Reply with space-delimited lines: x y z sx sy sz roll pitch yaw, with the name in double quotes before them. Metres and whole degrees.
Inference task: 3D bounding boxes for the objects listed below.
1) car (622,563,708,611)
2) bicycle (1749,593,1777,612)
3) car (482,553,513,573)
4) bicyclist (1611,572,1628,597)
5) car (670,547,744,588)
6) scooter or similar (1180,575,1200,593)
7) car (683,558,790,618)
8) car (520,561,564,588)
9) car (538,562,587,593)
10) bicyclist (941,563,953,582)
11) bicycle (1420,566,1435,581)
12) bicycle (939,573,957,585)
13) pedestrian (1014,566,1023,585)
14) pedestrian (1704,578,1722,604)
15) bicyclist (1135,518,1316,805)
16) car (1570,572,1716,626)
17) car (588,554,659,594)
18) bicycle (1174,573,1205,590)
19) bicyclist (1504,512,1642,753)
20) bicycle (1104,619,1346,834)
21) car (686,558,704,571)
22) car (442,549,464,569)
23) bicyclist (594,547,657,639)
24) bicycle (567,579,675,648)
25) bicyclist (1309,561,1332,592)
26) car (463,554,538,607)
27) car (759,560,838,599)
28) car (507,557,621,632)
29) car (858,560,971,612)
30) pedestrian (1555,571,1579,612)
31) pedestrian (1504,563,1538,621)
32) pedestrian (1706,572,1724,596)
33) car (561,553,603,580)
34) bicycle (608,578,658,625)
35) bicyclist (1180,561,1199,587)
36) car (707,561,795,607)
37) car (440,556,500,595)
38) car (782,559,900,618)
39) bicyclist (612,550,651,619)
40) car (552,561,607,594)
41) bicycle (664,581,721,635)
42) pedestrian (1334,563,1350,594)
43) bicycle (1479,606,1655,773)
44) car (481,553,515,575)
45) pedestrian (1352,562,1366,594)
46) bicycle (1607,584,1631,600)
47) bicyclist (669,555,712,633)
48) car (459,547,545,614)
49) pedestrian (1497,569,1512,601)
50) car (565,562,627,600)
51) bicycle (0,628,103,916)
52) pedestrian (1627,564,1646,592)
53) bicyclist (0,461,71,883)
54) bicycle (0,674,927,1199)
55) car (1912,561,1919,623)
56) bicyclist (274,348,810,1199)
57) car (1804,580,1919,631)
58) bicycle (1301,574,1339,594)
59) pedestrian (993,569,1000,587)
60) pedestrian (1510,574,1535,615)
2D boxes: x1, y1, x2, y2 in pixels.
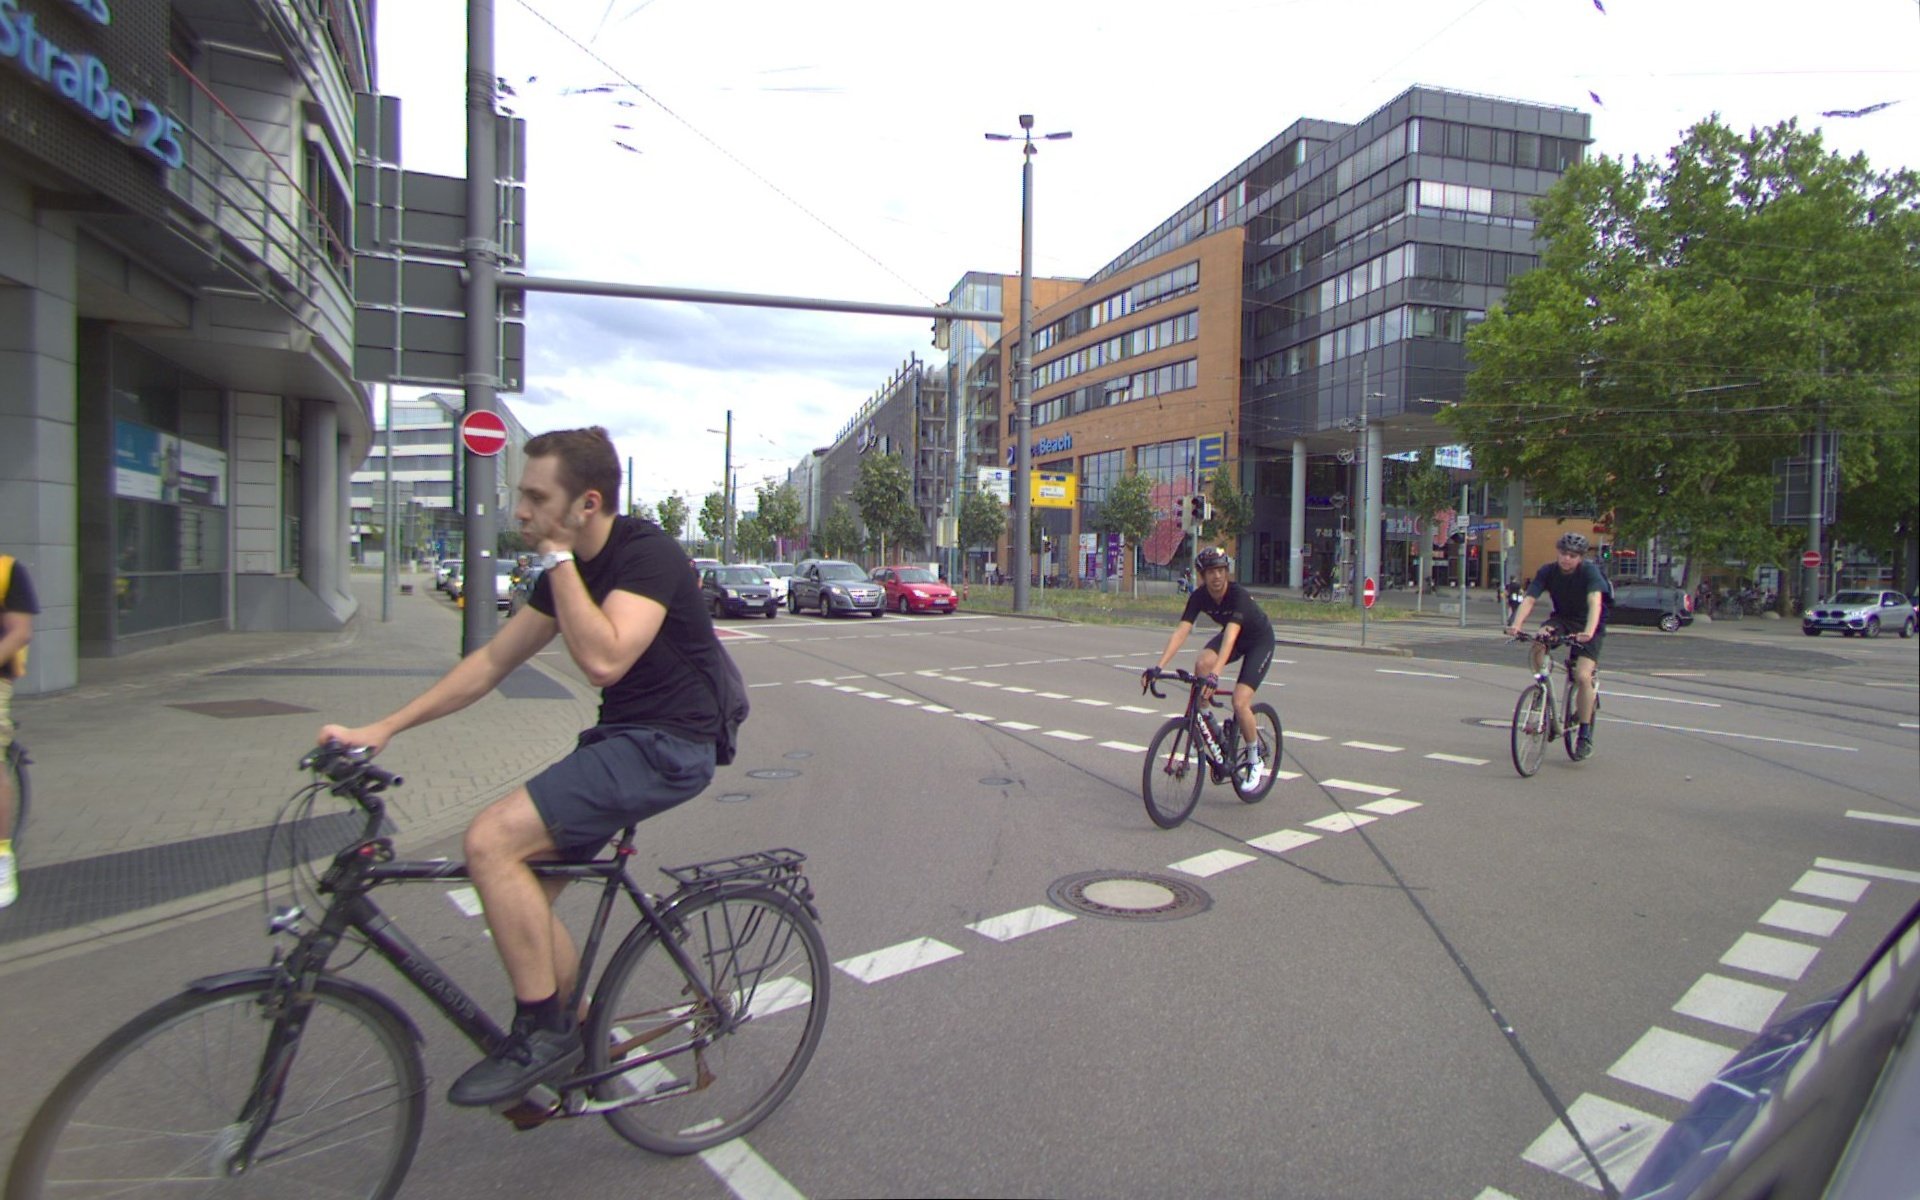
"car" -9.897 -0.485 33.758 1.787 1.478 4.004 -2 3 -31
"bicycle" 42.272 0.124 53.287 1.688 0.928 0.536 -1 2 -29
"car" -37.569 -3.041 82.119 1.787 1.551 4.004 -2 3 -31
"bicyclist" 38.762 -0.930 59.513 0.723 1.450 0.532 0 2 -29
"car" -10.316 -1.354 41.113 1.787 1.551 4.004 -2 3 -31
"scooter or similar" 15.132 -1.070 66.598 0.476 1.181 1.477 0 2 -27
"car" -6.395 -0.405 28.684 1.787 1.551 4.004 -1 3 -31
"car" -24.889 -1.551 60.164 1.787 1.551 4.004 -2 3 -31
"car" -21.229 -1.257 53.974 1.787 1.551 4.004 -2 3 -31
"bicyclist" -1.133 -2.409 88.911 0.625 1.636 0.979 0 2 -32
"bicycle" 30.119 -1.721 65.186 0.528 0.928 1.558 1 2 13
"bicycle" -1.092 -1.871 88.851 0.625 1.023 2.007 0 2 -32
"pedestrian" 4.905 -2.037 84.675 0.603 1.619 0.448 0 2 -15
"pedestrian" 44.556 -0.542 59.913 0.668 1.529 0.589 -1 2 -28
"bicyclist" 1.694 0.345 6.437 1.016 1.674 0.591 0 2 -40
"car" 24.151 -0.081 36.004 4.146 1.760 1.944 2 2 31
"car" -13.362 -1.077 40.062 1.787 1.478 4.004 -2 3 -31
"bicycle" 14.442 -1.198 63.706 0.625 1.023 2.007 0 2 -32
"bicyclist" 4.900 0.228 8.080 1.016 1.792 0.591 0 2 -40
"bicycle" 1.734 0.729 6.485 1.703 1.153 0.595 0 2 -40
"car" -36.149 -4.833 138.060 1.729 1.639 4.006 0 2 -6
"car" -54.149 -4.342 108.122 1.787 2.044 4.004 0 2 -31
"bicyclist" -6.422 -0.153 19.466 0.652 1.695 1.030 0 3 18
"bicycle" -6.438 0.219 19.400 0.652 1.152 2.428 0 3 17
"bicyclist" 19.814 -1.297 55.669 0.625 1.636 0.979 0 2 -32
"car" -15.180 -0.689 33.315 1.787 1.640 4.172 -1 3 -31
"car" -6.569 -0.867 40.941 1.787 1.450 4.004 -2 3 -31
"car" -9.204 -0.198 23.361 1.787 1.551 4.004 -2 3 -31
"car" -1.478 -0.491 31.317 1.787 1.450 4.004 -2 3 -31
"pedestrian" 26.533 -0.389 44.267 0.729 1.753 0.588 0 1 -31
"pedestrian" 17.899 -0.266 32.291 0.657 1.813 0.678 0 2 -37
"pedestrian" 48.834 -1.013 65.456 0.668 1.529 0.589 0 2 -15
"car" -25.121 -2.243 67.222 1.787 1.687 4.415 -2 3 -31
"bicycle" -8.228 0.015 25.398 0.735 1.069 2.225 -2 3 -29
"bicyclist" 14.453 -1.631 63.707 0.625 1.636 0.979 -1 2 -32
"car" -7.386 -0.624 35.541 1.787 1.478 4.004 -2 3 -31
"car" -19.682 -1.028 40.589 1.787 1.478 4.004 -2 3 -31
"car" -3.500 -0.403 29.172 1.787 1.551 4.224 -2 3 -31
"bicyclist" -8.257 -0.408 25.412 0.730 1.686 0.982 -2 3 -29
"car" -18.304 -1.128 48.567 1.754 1.478 4.004 -2 3 -31
"bicycle" -5.970 0.155 22.479 0.670 1.069 2.209 -2 3 -29
"pedestrian" 23.377 -1.323 61.942 0.613 1.889 0.675 1 1 -16
"bicycle" 4.872 0.648 8.072 1.825 1.153 0.595 0 2 -40
"car" -33.578 -2.631 73.447 1.787 1.551 4.004 -2 3 -31
"pedestrian" 24.031 -1.335 60.961 0.535 1.889 0.515 1 1 -6
"bicycle" 38.766 -0.481 59.525 1.510 0.928 0.536 -1 2 -29
"bicyclist" -6.001 -0.157 22.528 0.662 1.686 0.982 -2 3 -29
"car" -13.186 -0.610 29.001 1.787 1.783 4.004 -1 3 -31
"pedestrian" 31.830 -0.883 59.176 0.504 1.889 0.547 1 1 -12
"car" -15.929 -0.866 44.184 1.787 1.551 4.004 -2 3 -31
"bicycle" -4.419 0.756 4.222 0.711 1.153 1.909 1 2 -22
"pedestrian" 42.334 -1.396 63.346 0.730 1.753 0.587 1 2 4
"bicyclist" -4.452 0.297 4.329 0.704 1.786 0.918 1 2 -22
"bicycle" -1.077 0.825 2.285 2.053 1.153 0.595 0 2 -40
"car" 41.596 -0.312 41.723 6.866 2.486 2.176 0 2 -36
"bicyclist" -0.958 0.434 2.366 1.016 1.790 0.591 0 2 -40
"car" 31.583 0.165 35.049 4.543 1.682 1.968 0 0 -26
"bicycle" 19.786 -0.886 55.708 0.625 1.023 2.007 0 2 -32
"pedestrian" 3.248 -1.936 89.922 0.475 1.619 0.448 0 2 -15
"pedestrian" 22.950 -0.236 41.295 0.729 1.671 0.588 0 2 -31
